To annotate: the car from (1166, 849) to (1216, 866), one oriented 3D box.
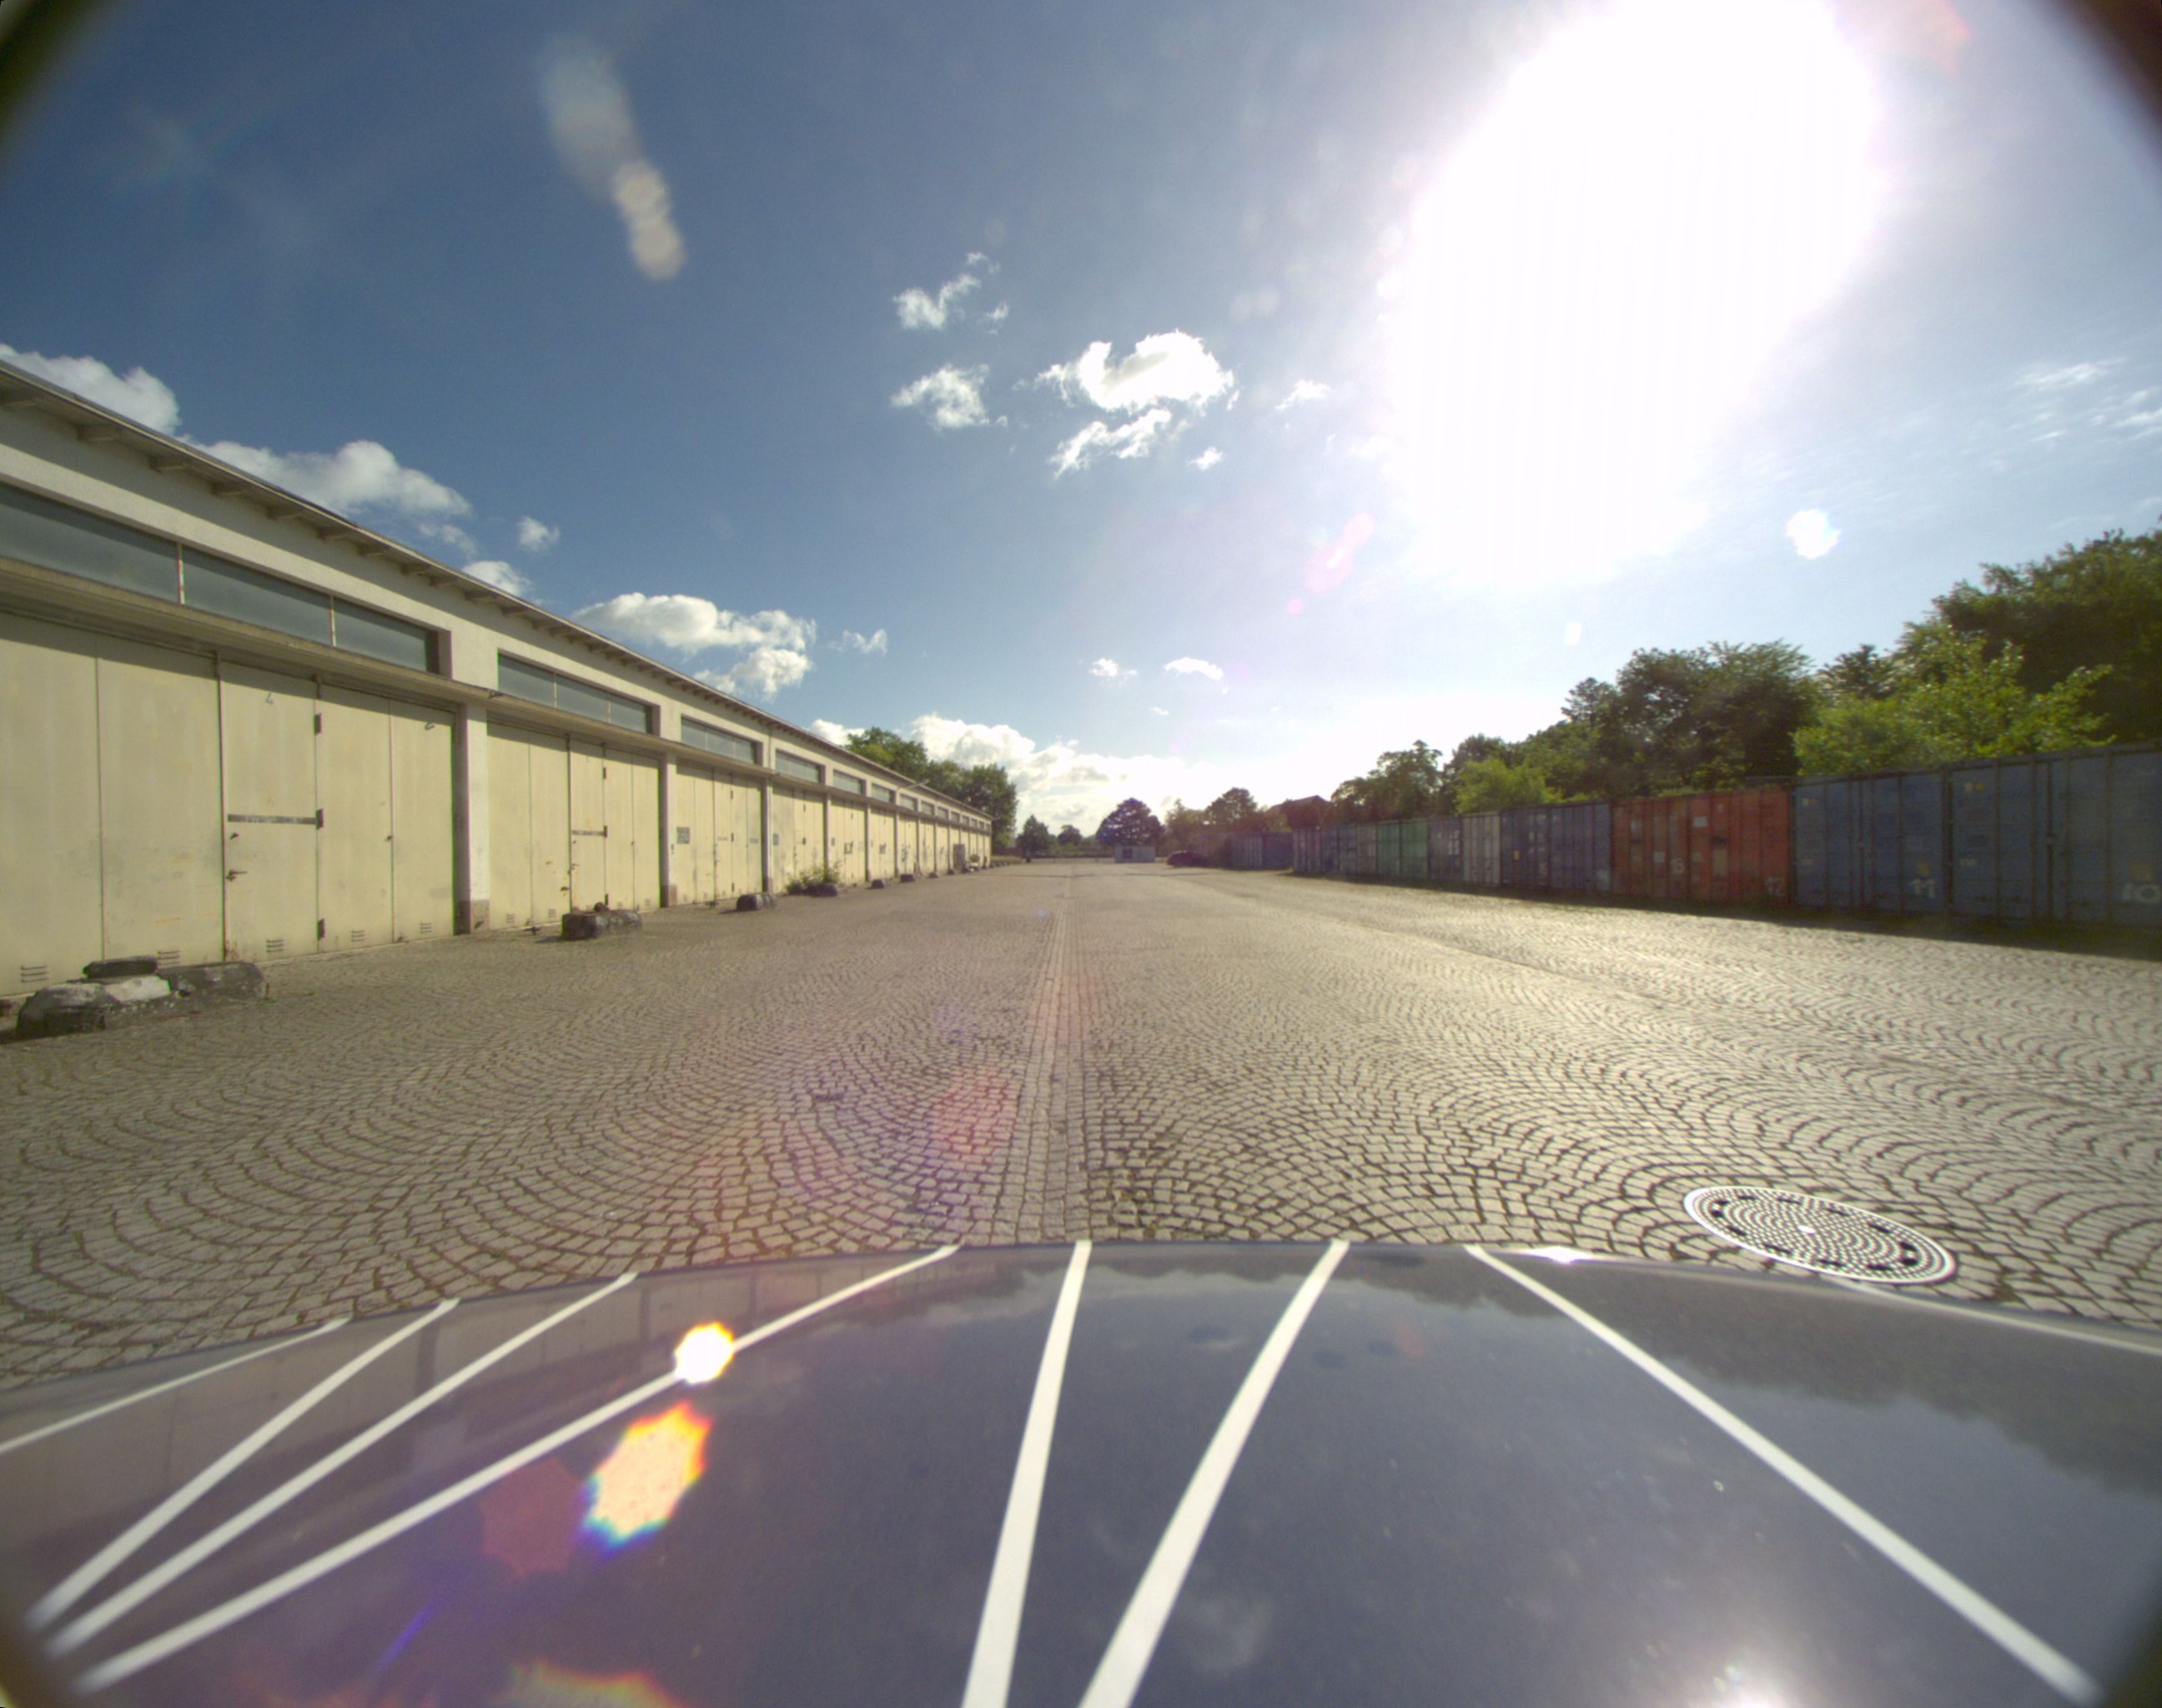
[{"bbox_3d":[9.883,0.319,68.583,4.113,1.289,1.999,-3,1,-3],"label":"car"}]
